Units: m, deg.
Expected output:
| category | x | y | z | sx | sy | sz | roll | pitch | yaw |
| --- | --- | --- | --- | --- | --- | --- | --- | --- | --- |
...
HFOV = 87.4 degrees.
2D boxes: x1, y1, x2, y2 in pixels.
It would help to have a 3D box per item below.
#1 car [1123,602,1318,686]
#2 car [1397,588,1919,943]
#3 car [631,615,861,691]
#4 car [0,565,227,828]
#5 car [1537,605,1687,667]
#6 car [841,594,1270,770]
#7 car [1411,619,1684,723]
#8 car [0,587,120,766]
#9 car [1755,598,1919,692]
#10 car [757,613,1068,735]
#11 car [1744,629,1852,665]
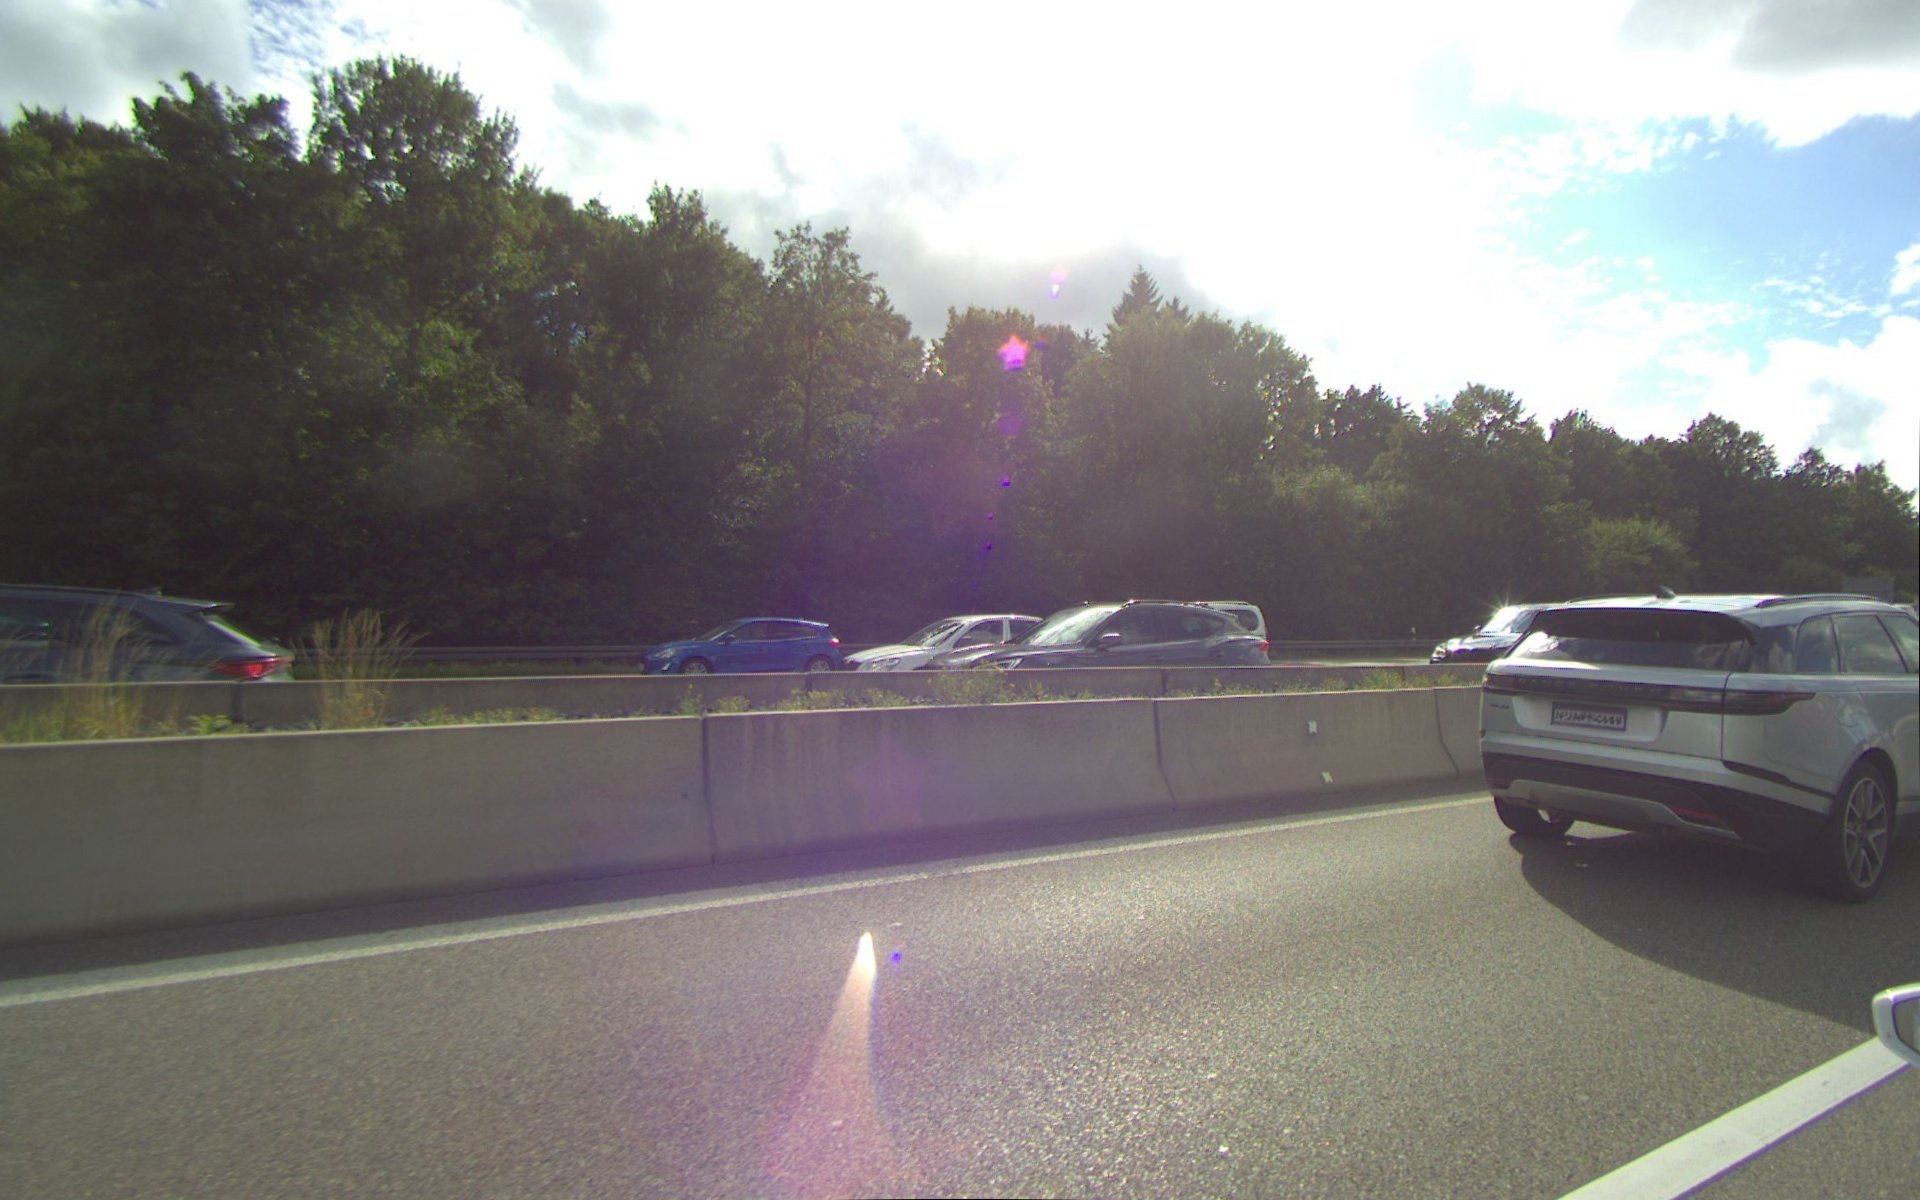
| category | x | y | z | sx | sy | sz | roll | pitch | yaw |
| --- | --- | --- | --- | --- | --- | --- | --- | --- | --- |
| car | 6.202 | 1.017 | 23.795 | 4.496 | 1.823 | 1.838 | 1 | -2 | -30 |
| car | 5.532 | 0.800 | 6.825 | 5.238 | 1.638 | 1.996 | 1 | 0 | -30 |
| car | -4.532 | 1.089 | 21.490 | 4.496 | 1.478 | 1.838 | 1 | -2 | -30 |
| car | -7.633 | 0.603 | 6.449 | 4.496 | 1.639 | 1.984 | 1 | -2 | -30 |
| car | 21.170 | 1.142 | 32.568 | 5.279 | 1.876 | 1.941 | 1 | -2 | -30 |
| car | 1.138 | 0.831 | 11.477 | 4.496 | 1.639 | 2.161 | 1 | -2 | -30 |
| car | 10.167 | 1.144 | 17.351 | 4.496 | 1.590 | 2.161 | 1 | -2 | -30 |
| car | -10.805 | 0.688 | 9.162 | 4.496 | 1.639 | 1.984 | 1 | -2 | -30 |
| car | 21.637 | 1.040 | 24.015 | 5.752 | 2.040 | 2.150 | 1 | -2 | -30 |
| car | -0.657 | 1.049 | 15.289 | 4.496 | 1.639 | 1.660 | 1 | -2 | -30 |
| car | 32.769 | 1.807 | 39.261 | 4.496 | 1.319 | 1.856 | 1 | -2 | -30 |
